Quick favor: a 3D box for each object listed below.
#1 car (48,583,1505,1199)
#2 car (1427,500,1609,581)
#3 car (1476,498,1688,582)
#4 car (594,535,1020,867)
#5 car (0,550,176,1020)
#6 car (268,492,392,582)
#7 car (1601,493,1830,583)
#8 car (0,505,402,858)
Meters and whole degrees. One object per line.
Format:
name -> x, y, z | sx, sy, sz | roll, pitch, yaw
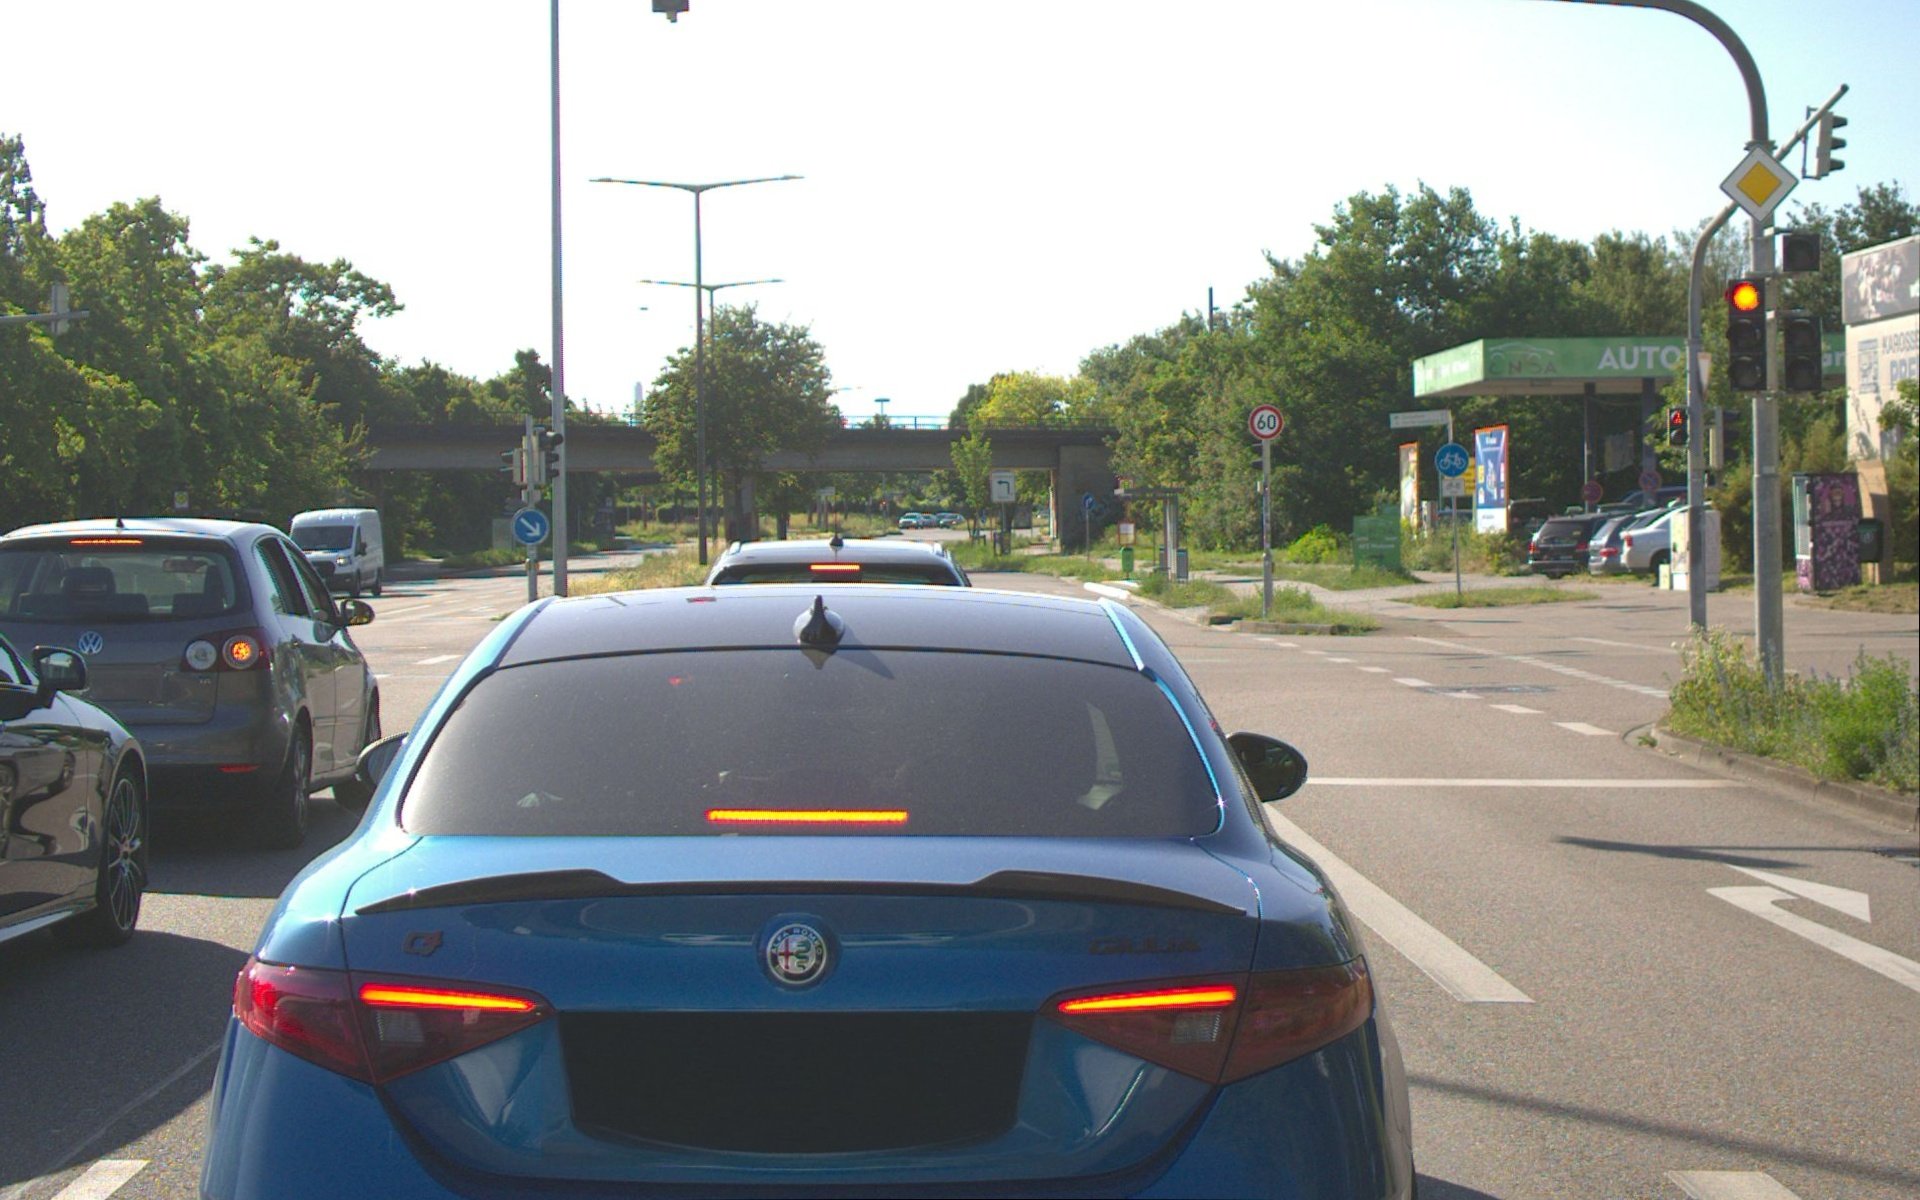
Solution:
car -> -0.258, 0.695, 6.381 | 1.866, 1.380, 3.932 | 0, 1, -1
car -> 12.030, -1.286, 74.162 | 3.483, 1.700, 1.696 | -1, 1, -16
car -> 12.830, -1.248, 70.971 | 3.986, 1.700, 1.696 | -1, 1, -19
car -> -0.696, 0.409, 17.088 | 1.866, 1.445, 3.932 | 0, 1, -1
car -> -3.803, 0.568, 10.651 | 1.768, 1.409, 4.461 | 0, 1, -1
car -> -17.470, -1.765, 95.592 | 2.431, 2.418, 5.831 | 0, 1, -1
car -> 14.521, -1.194, 66.115 | 3.986, 1.700, 1.696 | -1, 1, -16
car -> -3.975, 0.328, 17.534 | 1.648, 1.593, 3.932 | 0, 1, -1
